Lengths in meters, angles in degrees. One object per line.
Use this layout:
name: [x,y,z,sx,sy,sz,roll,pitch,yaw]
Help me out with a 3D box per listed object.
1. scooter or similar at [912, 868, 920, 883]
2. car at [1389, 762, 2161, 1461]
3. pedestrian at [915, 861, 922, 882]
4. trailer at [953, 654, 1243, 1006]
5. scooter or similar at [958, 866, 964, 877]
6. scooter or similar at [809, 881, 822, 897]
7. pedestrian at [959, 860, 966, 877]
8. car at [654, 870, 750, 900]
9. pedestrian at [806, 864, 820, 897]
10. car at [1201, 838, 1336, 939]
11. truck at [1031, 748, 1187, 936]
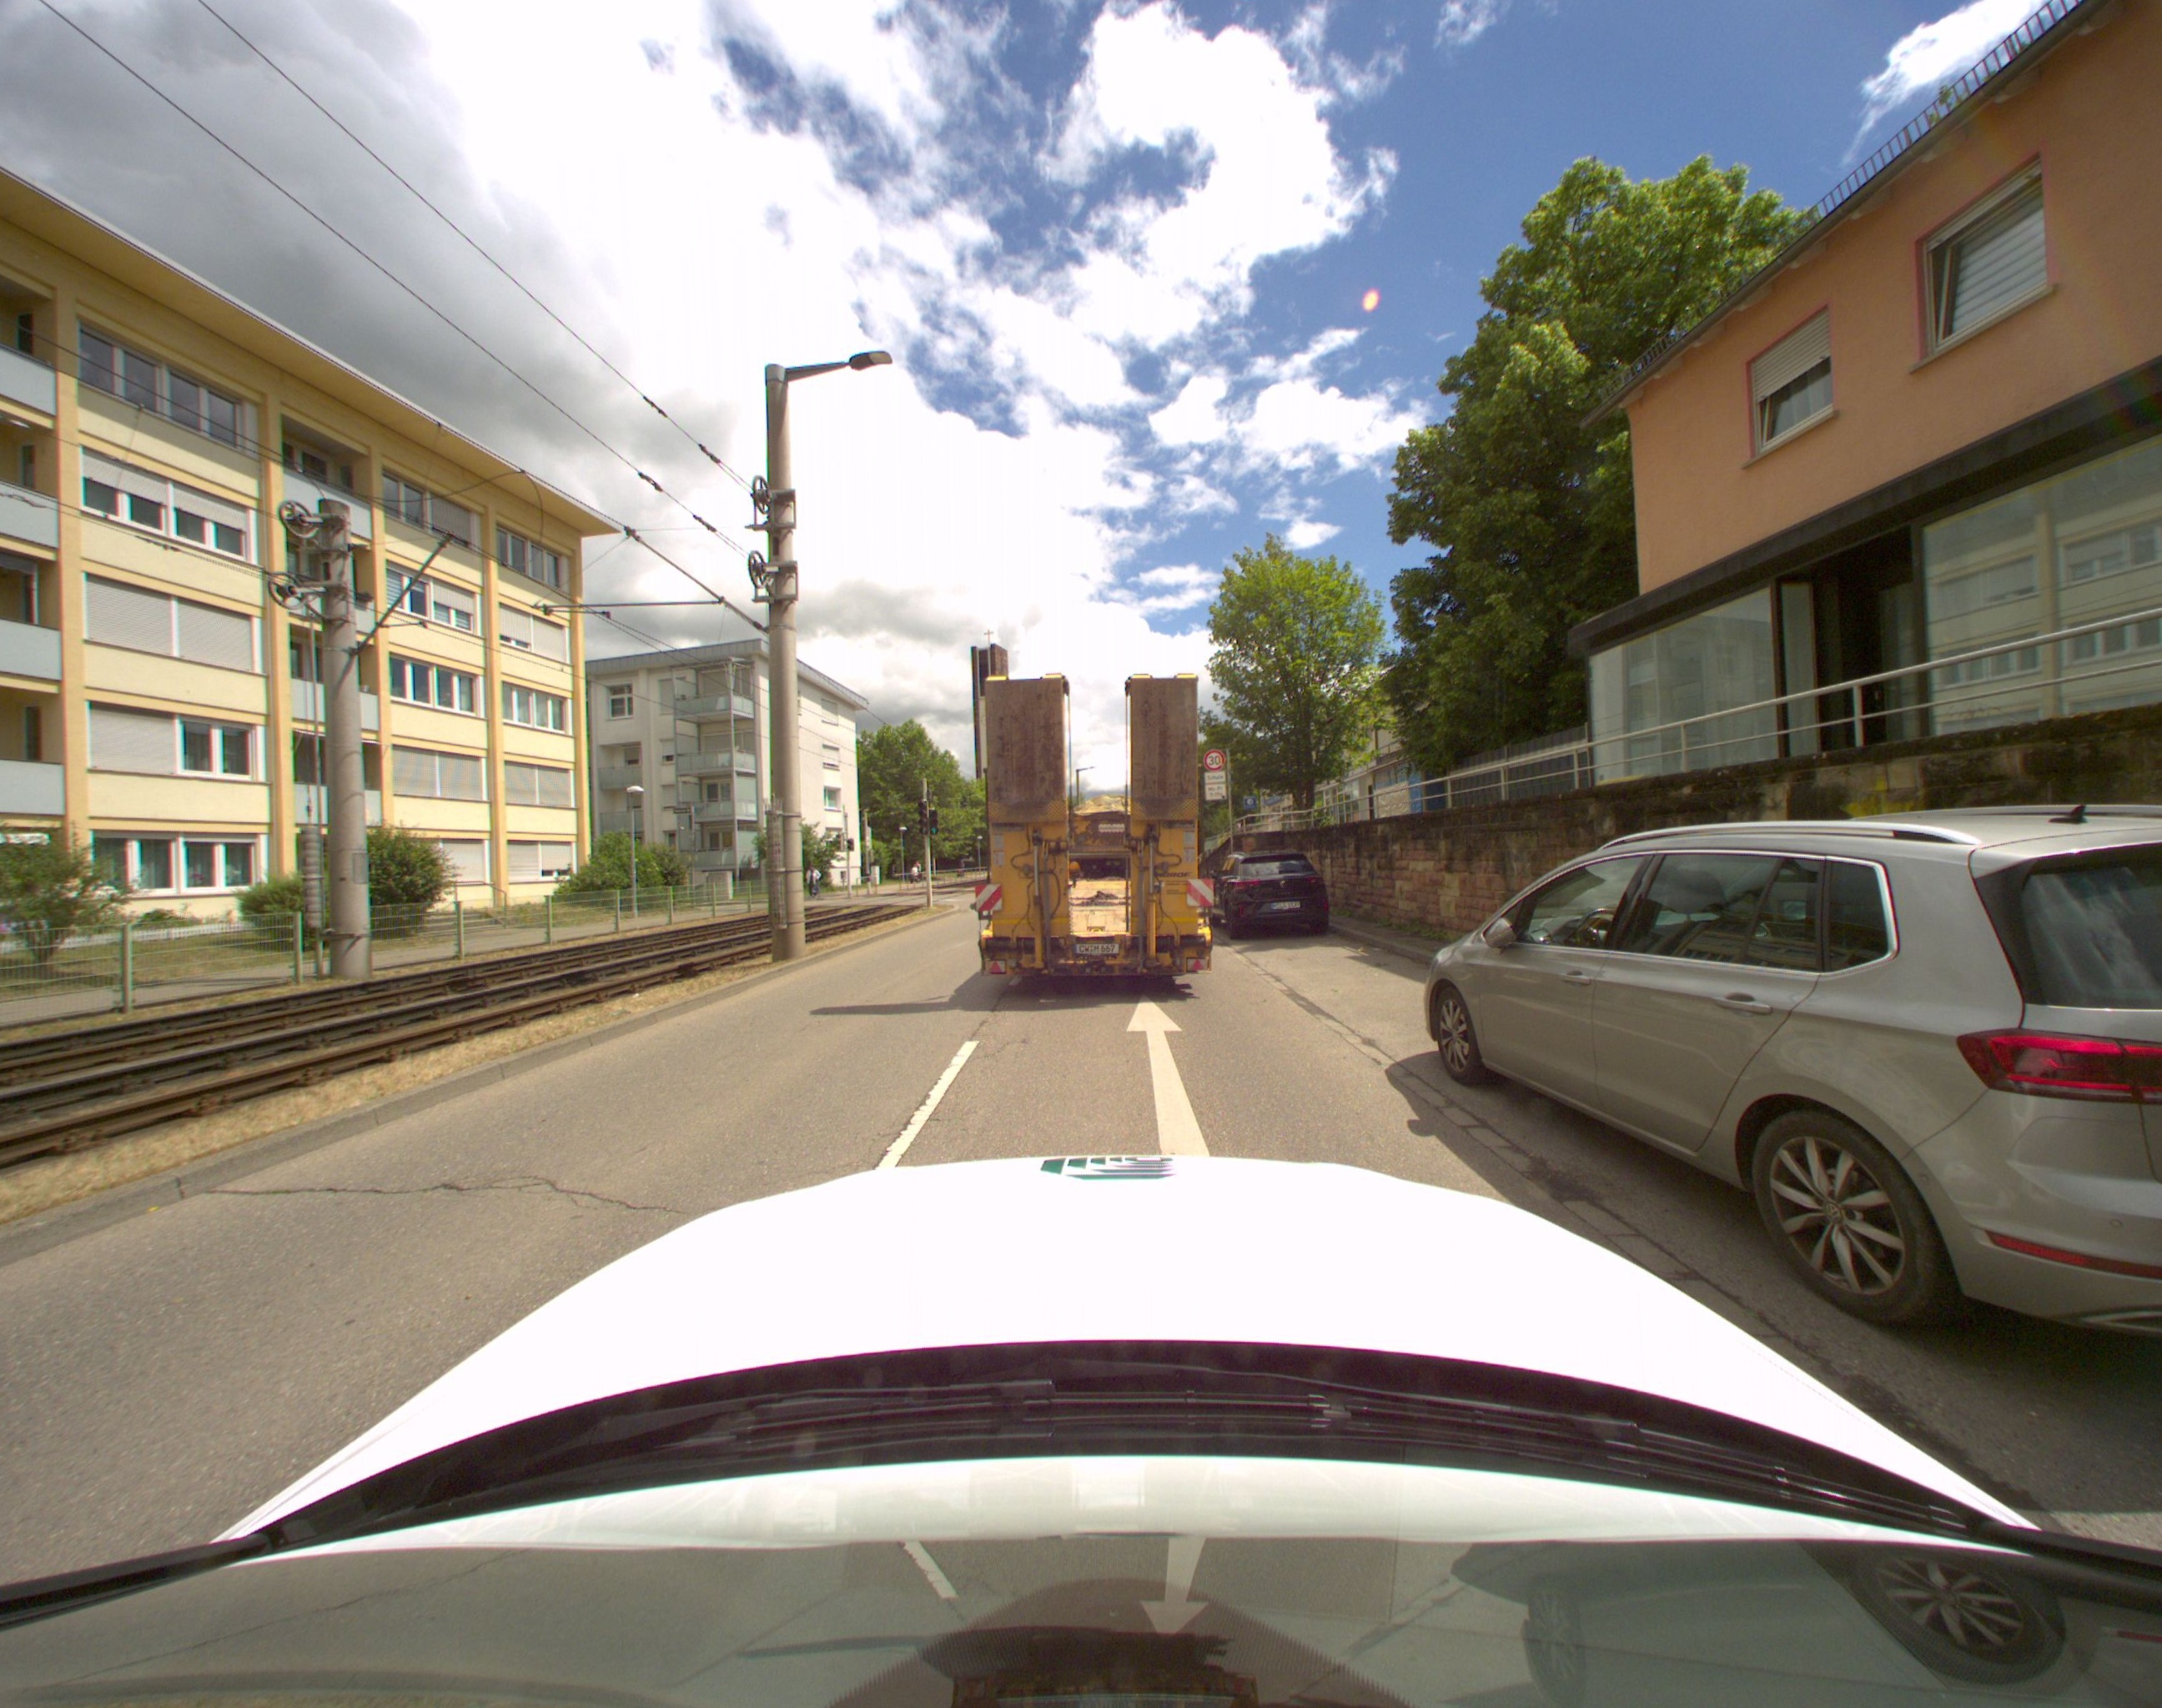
scooter or similar: [-11.973,1.527,59.066,0.336,1.058,0.688,-2,0,5]
car: [3.227,0.565,4.031,1.783,1.618,4.249,-3,0,1]
pedestrian: [-11.910,1.304,59.697,0.346,1.537,0.558,-2,0,5]
trailer: [0.388,-0.241,12.896,2.933,3.601,8.690,-2,0,3]
scooter or similar: [-11.200,1.630,75.955,0.504,0.971,0.646,0,0,1]
scooter or similar: [-12.802,1.691,39.256,0.435,0.747,0.475,-2,-1,7]
pedestrian: [-11.165,1.369,76.609,0.562,1.514,0.646,0,-1,1]
car: [-19.186,1.549,41.342,3.963,1.346,1.906,-2,0,9]
pedestrian: [-13.022,1.285,39.580,0.435,1.581,0.475,-2,-1,7]
car: [3.525,0.607,16.057,1.843,1.639,4.003,-3,0,3]
truck: [0.656,-0.223,18.355,2.931,3.572,4.880,-2,0,3]
